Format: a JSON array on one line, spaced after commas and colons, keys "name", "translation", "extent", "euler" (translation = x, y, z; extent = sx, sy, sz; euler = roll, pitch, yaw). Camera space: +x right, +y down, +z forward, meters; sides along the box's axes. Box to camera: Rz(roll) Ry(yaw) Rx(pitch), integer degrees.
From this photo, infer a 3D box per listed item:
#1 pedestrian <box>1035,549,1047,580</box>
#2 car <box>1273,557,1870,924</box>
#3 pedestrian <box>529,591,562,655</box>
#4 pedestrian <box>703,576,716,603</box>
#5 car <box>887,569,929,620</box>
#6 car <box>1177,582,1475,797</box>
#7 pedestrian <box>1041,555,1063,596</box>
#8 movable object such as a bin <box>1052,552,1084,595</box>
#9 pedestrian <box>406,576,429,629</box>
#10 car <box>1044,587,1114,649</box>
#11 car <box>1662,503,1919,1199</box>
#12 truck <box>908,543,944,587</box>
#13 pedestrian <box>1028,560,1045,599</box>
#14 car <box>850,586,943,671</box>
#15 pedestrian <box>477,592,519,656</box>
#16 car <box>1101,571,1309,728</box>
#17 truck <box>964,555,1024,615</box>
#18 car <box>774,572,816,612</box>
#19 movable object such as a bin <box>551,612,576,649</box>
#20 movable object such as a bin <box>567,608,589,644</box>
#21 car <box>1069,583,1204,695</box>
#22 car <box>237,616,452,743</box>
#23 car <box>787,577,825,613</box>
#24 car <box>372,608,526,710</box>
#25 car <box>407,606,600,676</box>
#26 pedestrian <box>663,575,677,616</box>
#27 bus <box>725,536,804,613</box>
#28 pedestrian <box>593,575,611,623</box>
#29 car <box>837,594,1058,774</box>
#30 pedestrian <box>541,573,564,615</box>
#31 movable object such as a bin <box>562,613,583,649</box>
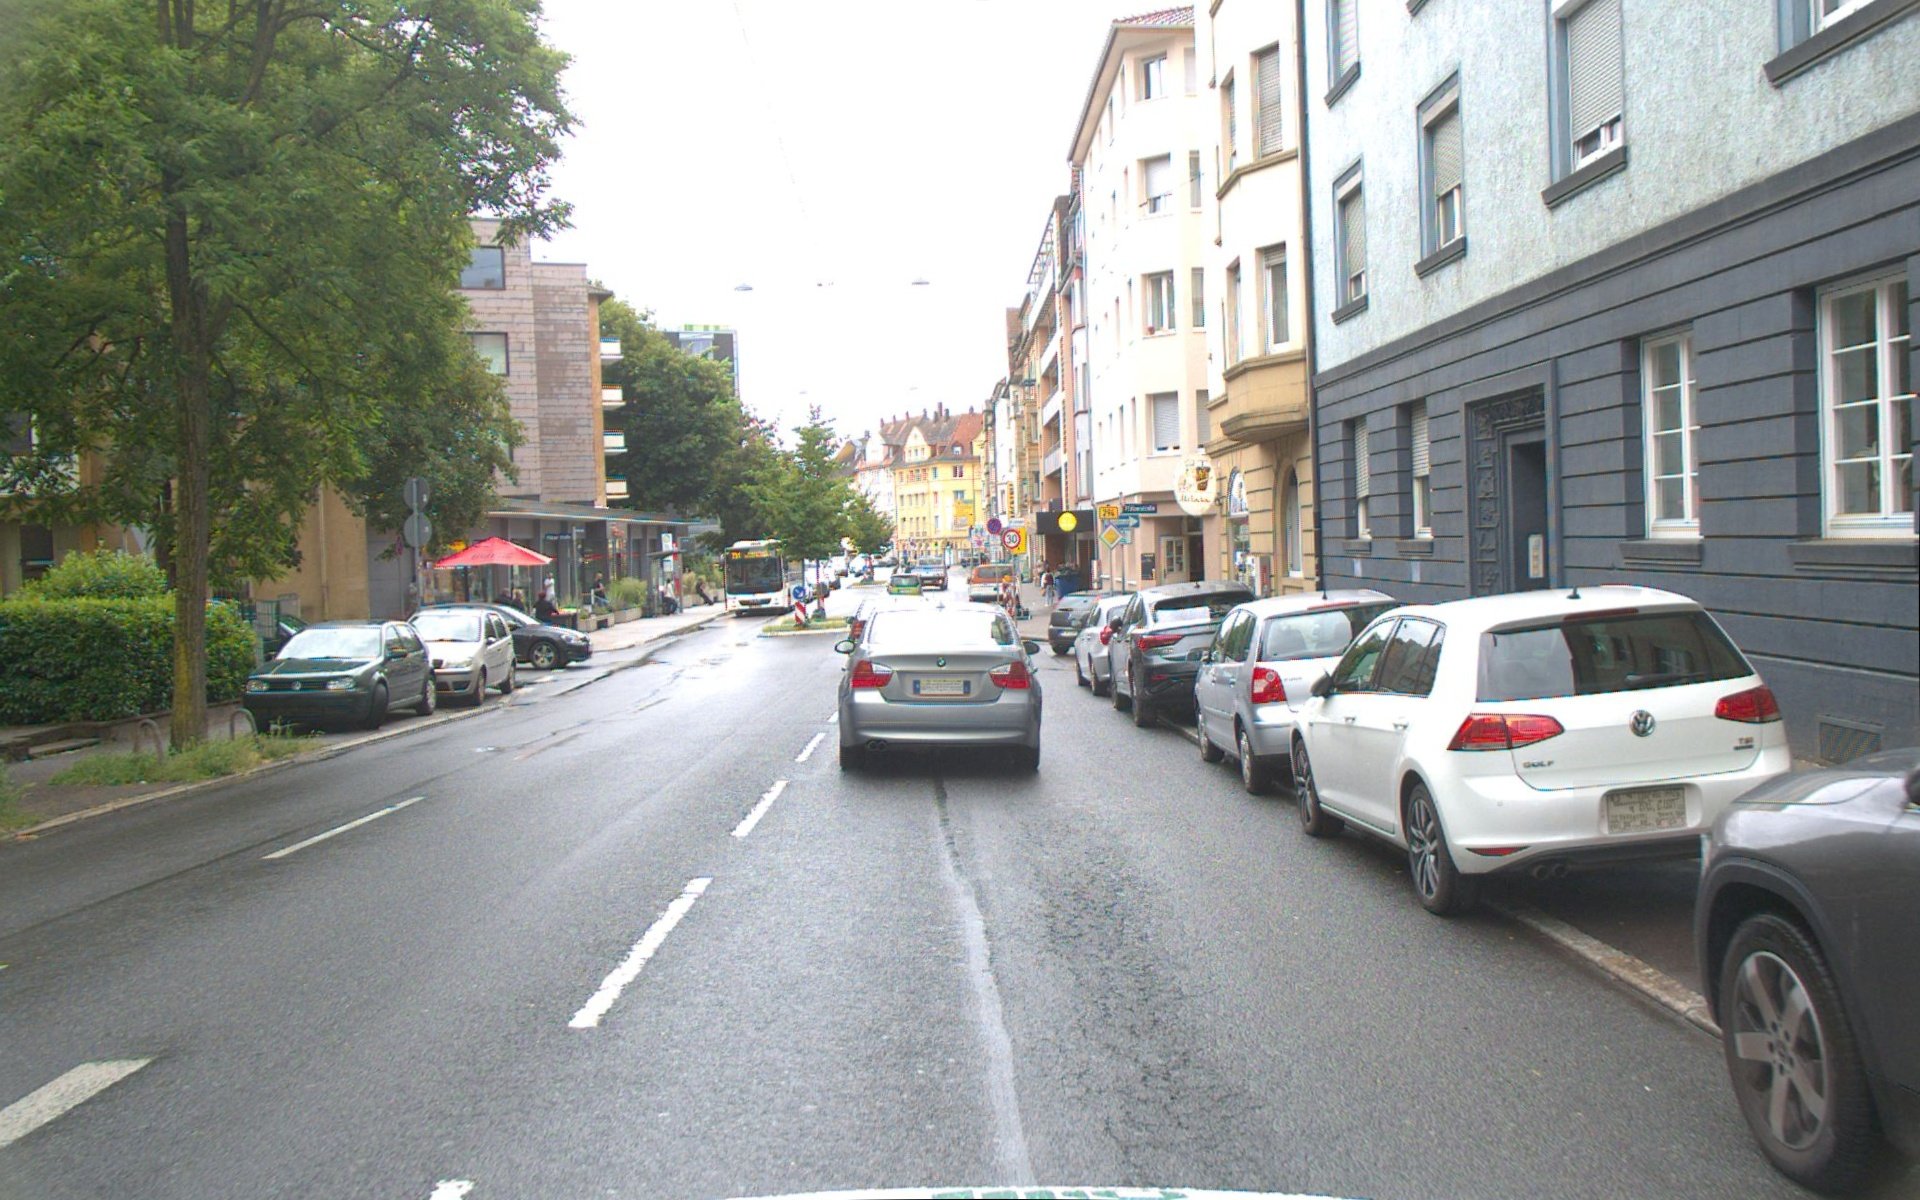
[{"name": "pedestrian", "translation": [4.431, -1.926, 90.253], "extent": [0.602, 1.690, 0.755], "euler": [0, -1, 5]}, {"name": "car", "translation": [3.062, 0.593, 9.235], "extent": [1.695, 1.454, 3.973], "euler": [-5, 1, -1]}, {"name": "pedestrian", "translation": [-11.688, 0.639, 46.625], "extent": [0.729, 1.738, 0.676], "euler": [-5, 1, -21]}, {"name": "pedestrian", "translation": [-13.116, -0.546, 86.529], "extent": [0.607, 1.402, 0.544], "euler": [0, -1, 0]}, {"name": "car", "translation": [-2.209, -0.218, 69.390], "extent": [1.671, 2.049, 3.997], "euler": [0, -1, -3]}, {"name": "car", "translation": [2.946, 0.642, 14.029], "extent": [1.551, 1.454, 3.594], "euler": [-5, 1, -1]}, {"name": "pedestrian", "translation": [3.853, -1.004, 69.164], "extent": [0.737, 1.690, 0.752], "euler": [0, -1, -12]}, {"name": "movable object such as a bin", "translation": [4.599, -1.140, 70.668], "extent": [1.100, 1.732, 1.433], "euler": [-3, 0, -3]}, {"name": "pedestrian", "translation": [-19.197, 0.078, 58.497], "extent": [0.628, 1.847, 0.630], "euler": [-3, 1, -25]}, {"name": "car", "translation": [2.766, 0.413, 39.099], "extent": [1.406, 1.380, 3.762], "euler": [0, -1, 0]}, {"name": "car", "translation": [3.059, 0.551, 2.733], "extent": [1.804, 1.649, 4.206], "euler": [-4, 0, -2]}, {"name": "truck", "translation": [-2.098, -2.108, 101.381], "extent": [2.172, 2.589, 4.778], "euler": [0, -1, -2]}, {"name": "pedestrian", "translation": [3.334, -0.905, 72.083], "extent": [0.733, 1.690, 0.837], "euler": [0, -1, 5]}, {"name": "car", "translation": [-1.176, 0.508, 29.927], "extent": [1.570, 1.445, 3.285], "euler": [0, -1, -3]}, {"name": "pedestrian", "translation": [-13.142, 0.663, 47.092], "extent": [1.043, 1.761, 0.712], "euler": [-2, 1, -11]}, {"name": "car", "translation": [2.861, 0.521, 20.242], "extent": [1.781, 1.584, 4.292], "euler": [-4, 0, -1]}, {"name": "truck", "translation": [1.349, -0.548, 63.553], "extent": [2.169, 2.154, 4.653], "euler": [1, 0, 2]}, {"name": "car", "translation": [-8.864, -0.416, 89.176], "extent": [1.953, 2.049, 3.998], "euler": [1, -1, -2]}, {"name": "movable object such as a bin", "translation": [-12.212, 0.950, 51.003], "extent": [0.542, 1.100, 0.731], "euler": [-3, -1, -1]}, {"name": "movable object such as a bin", "translation": [-12.192, 0.835, 52.797], "extent": [0.480, 1.100, 0.606], "euler": [-3, -1, -1]}, {"name": "car", "translation": [2.674, 0.542, 25.817], "extent": [1.537, 1.489, 4.088], "euler": [-4, 0, -1]}, {"name": "car", "translation": [-8.472, 1.035, 23.111], "extent": [1.621, 1.479, 3.940], "euler": [-2, 1, -3]}, {"name": "car", "translation": [-9.012, -0.284, 97.054], "extent": [1.953, 2.049, 3.998], "euler": [0, -1, -2]}, {"name": "car", "translation": [-8.432, 0.925, 27.600], "extent": [1.600, 1.479, 3.836], "euler": [-2, 1, -5]}, {"name": "car", "translation": [-9.970, 0.893, 36.302], "extent": [3.739, 1.414, 1.742], "euler": [-1, -1, -2]}, {"name": "pedestrian", "translation": [-12.382, -0.174, 70.637], "extent": [0.532, 1.739, 0.465], "euler": [0, -1, -8]}, {"name": "bus", "translation": [-8.905, -1.043, 76.713], "extent": [2.627, 3.256, 11.950], "euler": [0, 0, -2]}, {"name": "pedestrian", "translation": [-13.810, -0.037, 63.832], "extent": [0.455, 1.821, 0.544], "euler": [0, -1, 20]}, {"name": "car", "translation": [-0.122, 0.674, 14.619], "extent": [1.720, 1.386, 3.164], "euler": [-1, 0, -1]}, {"name": "pedestrian", "translation": [-16.904, -0.228, 68.601], "extent": [0.645, 1.735, 0.660], "euler": [0, -1, 31]}, {"name": "movable object such as a bin", "translation": [-12.179, 0.962, 51.963], "extent": [0.480, 1.100, 0.606], "euler": [-3, -1, -1]}]
